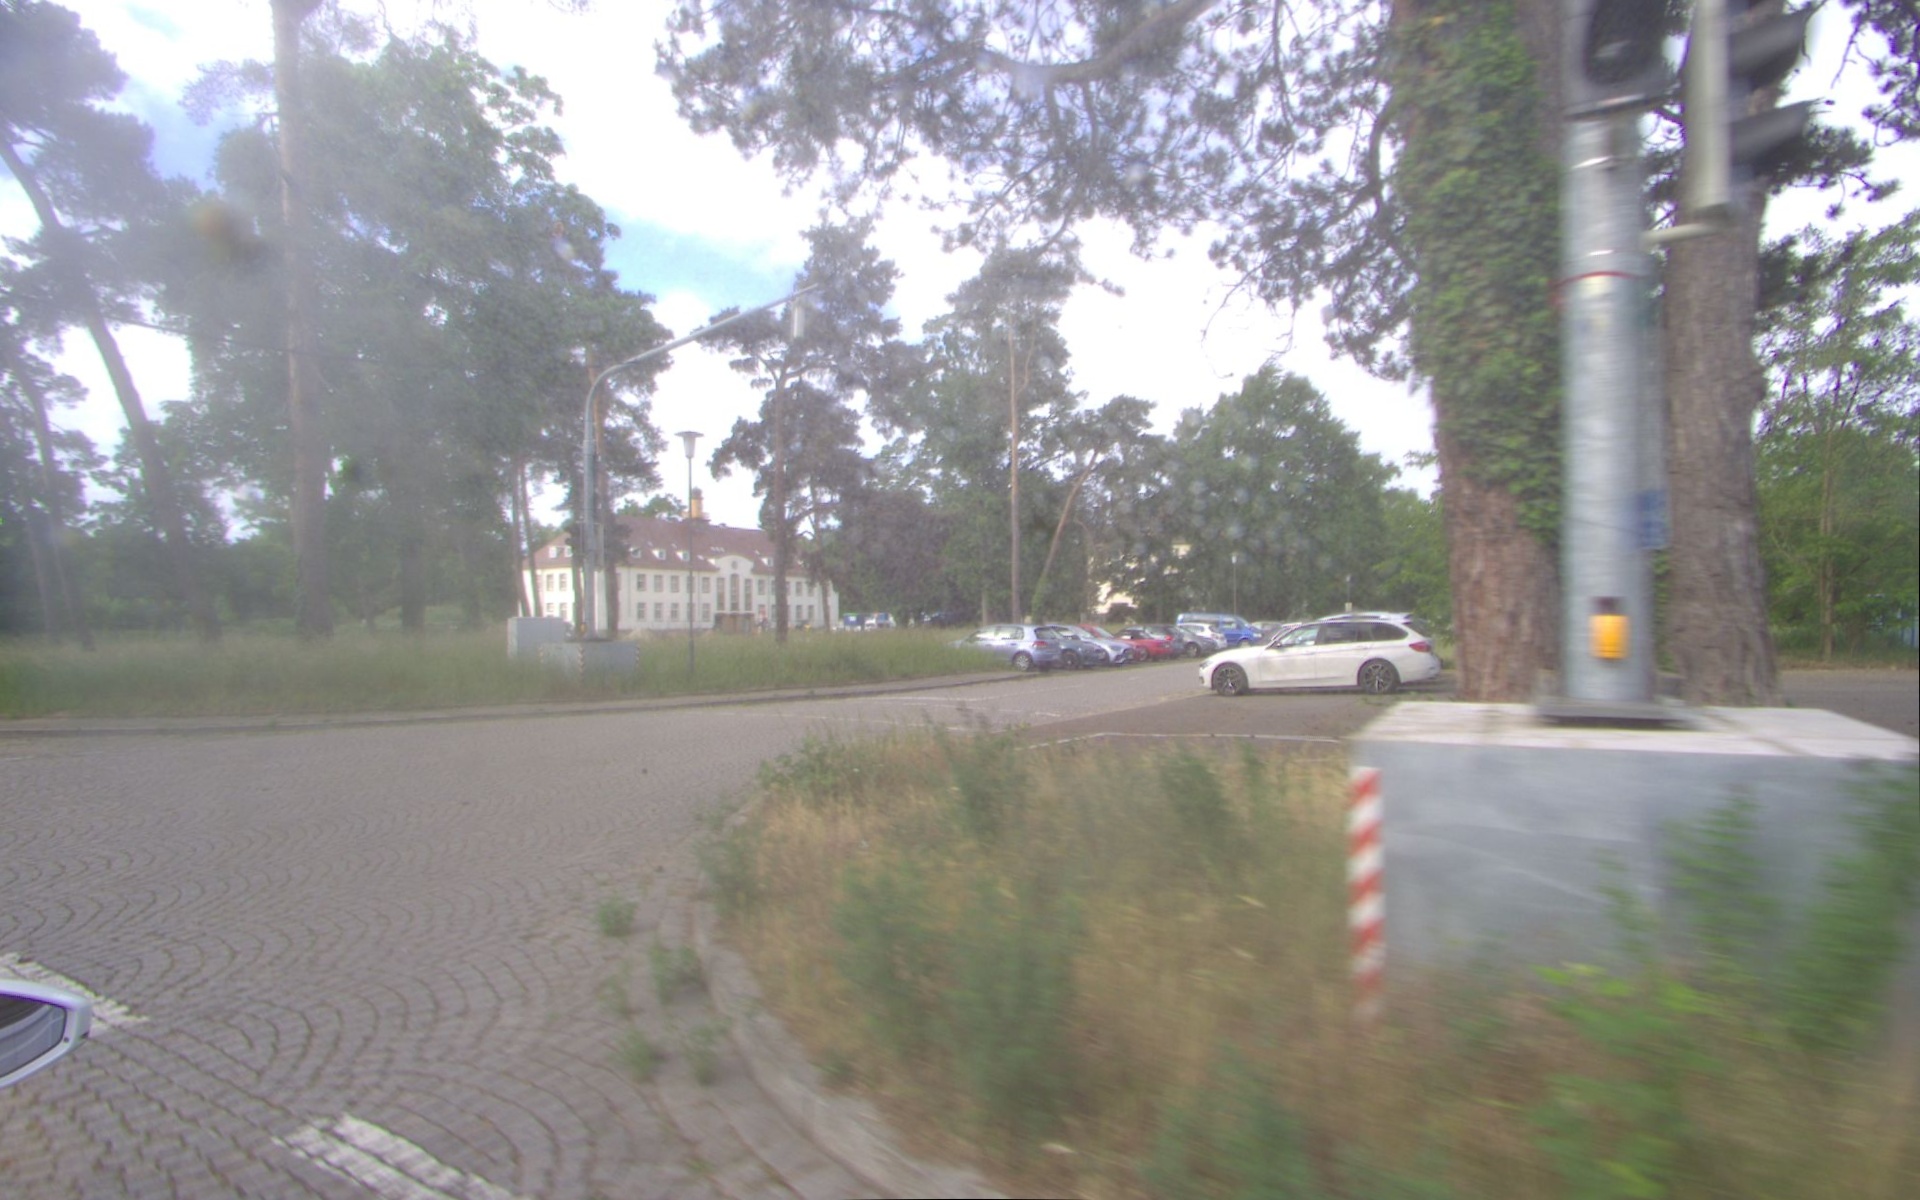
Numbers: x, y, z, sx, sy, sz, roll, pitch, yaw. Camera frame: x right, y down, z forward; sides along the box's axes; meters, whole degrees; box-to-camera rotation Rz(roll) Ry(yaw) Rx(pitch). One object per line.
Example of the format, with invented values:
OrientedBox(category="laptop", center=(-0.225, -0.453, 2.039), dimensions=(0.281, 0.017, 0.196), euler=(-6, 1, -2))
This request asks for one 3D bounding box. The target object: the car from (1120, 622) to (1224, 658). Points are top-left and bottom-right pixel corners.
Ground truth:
OrientedBox(category="car", center=(9.517, 1.753, 44.987), dimensions=(4.258, 1.500, 1.721), euler=(0, -1, 33))

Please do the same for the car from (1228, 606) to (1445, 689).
OrientedBox(category="car", center=(8.315, 1.076, 22.159), dimensions=(4.276, 1.594, 1.821), euler=(-4, -3, 27))

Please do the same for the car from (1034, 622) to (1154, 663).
OrientedBox(category="car", center=(5.122, 1.585, 38.410), dimensions=(4.206, 1.474, 1.846), euler=(0, -1, 32))

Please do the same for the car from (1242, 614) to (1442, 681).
OrientedBox(category="car", center=(9.374, 1.186, 24.649), dimensions=(4.317, 1.424, 1.788), euler=(-4, -2, 30))

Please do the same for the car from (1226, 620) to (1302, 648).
OrientedBox(category="car", center=(18.074, 2.006, 59.628), dimensions=(4.021, 1.596, 1.945), euler=(0, -1, 31))

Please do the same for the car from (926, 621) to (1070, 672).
OrientedBox(category="car", center=(1.180, 1.449, 31.932), dimensions=(4.282, 1.489, 1.817), euler=(0, -1, 33))

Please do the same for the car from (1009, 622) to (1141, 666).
OrientedBox(category="car", center=(4.145, 1.552, 36.312), dimensions=(4.388, 1.474, 1.940), euler=(0, -1, 33))

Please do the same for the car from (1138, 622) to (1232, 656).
OrientedBox(category="car", center=(10.688, 1.805, 47.619), dimensions=(3.962, 1.521, 1.833), euler=(0, -1, 33))

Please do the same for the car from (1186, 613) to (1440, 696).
OrientedBox(category="car", center=(6.995, 1.109, 19.960), dimensions=(4.497, 1.443, 1.820), euler=(-4, -3, 29))

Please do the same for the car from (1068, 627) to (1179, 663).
OrientedBox(category="car", center=(6.549, 1.776, 40.314), dimensions=(4.085, 1.300, 1.755), euler=(0, -1, 32))

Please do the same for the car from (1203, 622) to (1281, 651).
OrientedBox(category="car", center=(15.211, 1.958, 54.068), dimensions=(3.748, 1.513, 1.718), euler=(0, 0, 29))

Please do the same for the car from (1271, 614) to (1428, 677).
OrientedBox(category="car", center=(10.523, 1.228, 27.101), dimensions=(3.728, 1.498, 1.735), euler=(-4, -2, 29))

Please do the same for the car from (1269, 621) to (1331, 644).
OrientedBox(category="car", center=(23.258, 2.220, 68.490), dimensions=(3.772, 1.509, 1.779), euler=(0, -1, 31))

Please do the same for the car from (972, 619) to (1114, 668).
OrientedBox(category="car", center=(2.809, 1.452, 33.997), dimensions=(4.446, 1.557, 1.863), euler=(0, -1, 29))

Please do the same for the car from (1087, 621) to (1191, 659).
OrientedBox(category="car", center=(7.621, 1.681, 42.790), dimensions=(4.043, 1.500, 1.746), euler=(0, -1, 33))

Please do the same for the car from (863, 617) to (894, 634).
OrientedBox(category="car", center=(-10.802, 3.475, 133.554), dimensions=(2.038, 2.121, 4.327), euler=(-2, -3, 31))

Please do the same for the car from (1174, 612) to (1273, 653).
OrientedBox(category="car", center=(13.663, 1.652, 51.976), dimensions=(4.655, 2.006, 2.028), euler=(0, 0, 31))
